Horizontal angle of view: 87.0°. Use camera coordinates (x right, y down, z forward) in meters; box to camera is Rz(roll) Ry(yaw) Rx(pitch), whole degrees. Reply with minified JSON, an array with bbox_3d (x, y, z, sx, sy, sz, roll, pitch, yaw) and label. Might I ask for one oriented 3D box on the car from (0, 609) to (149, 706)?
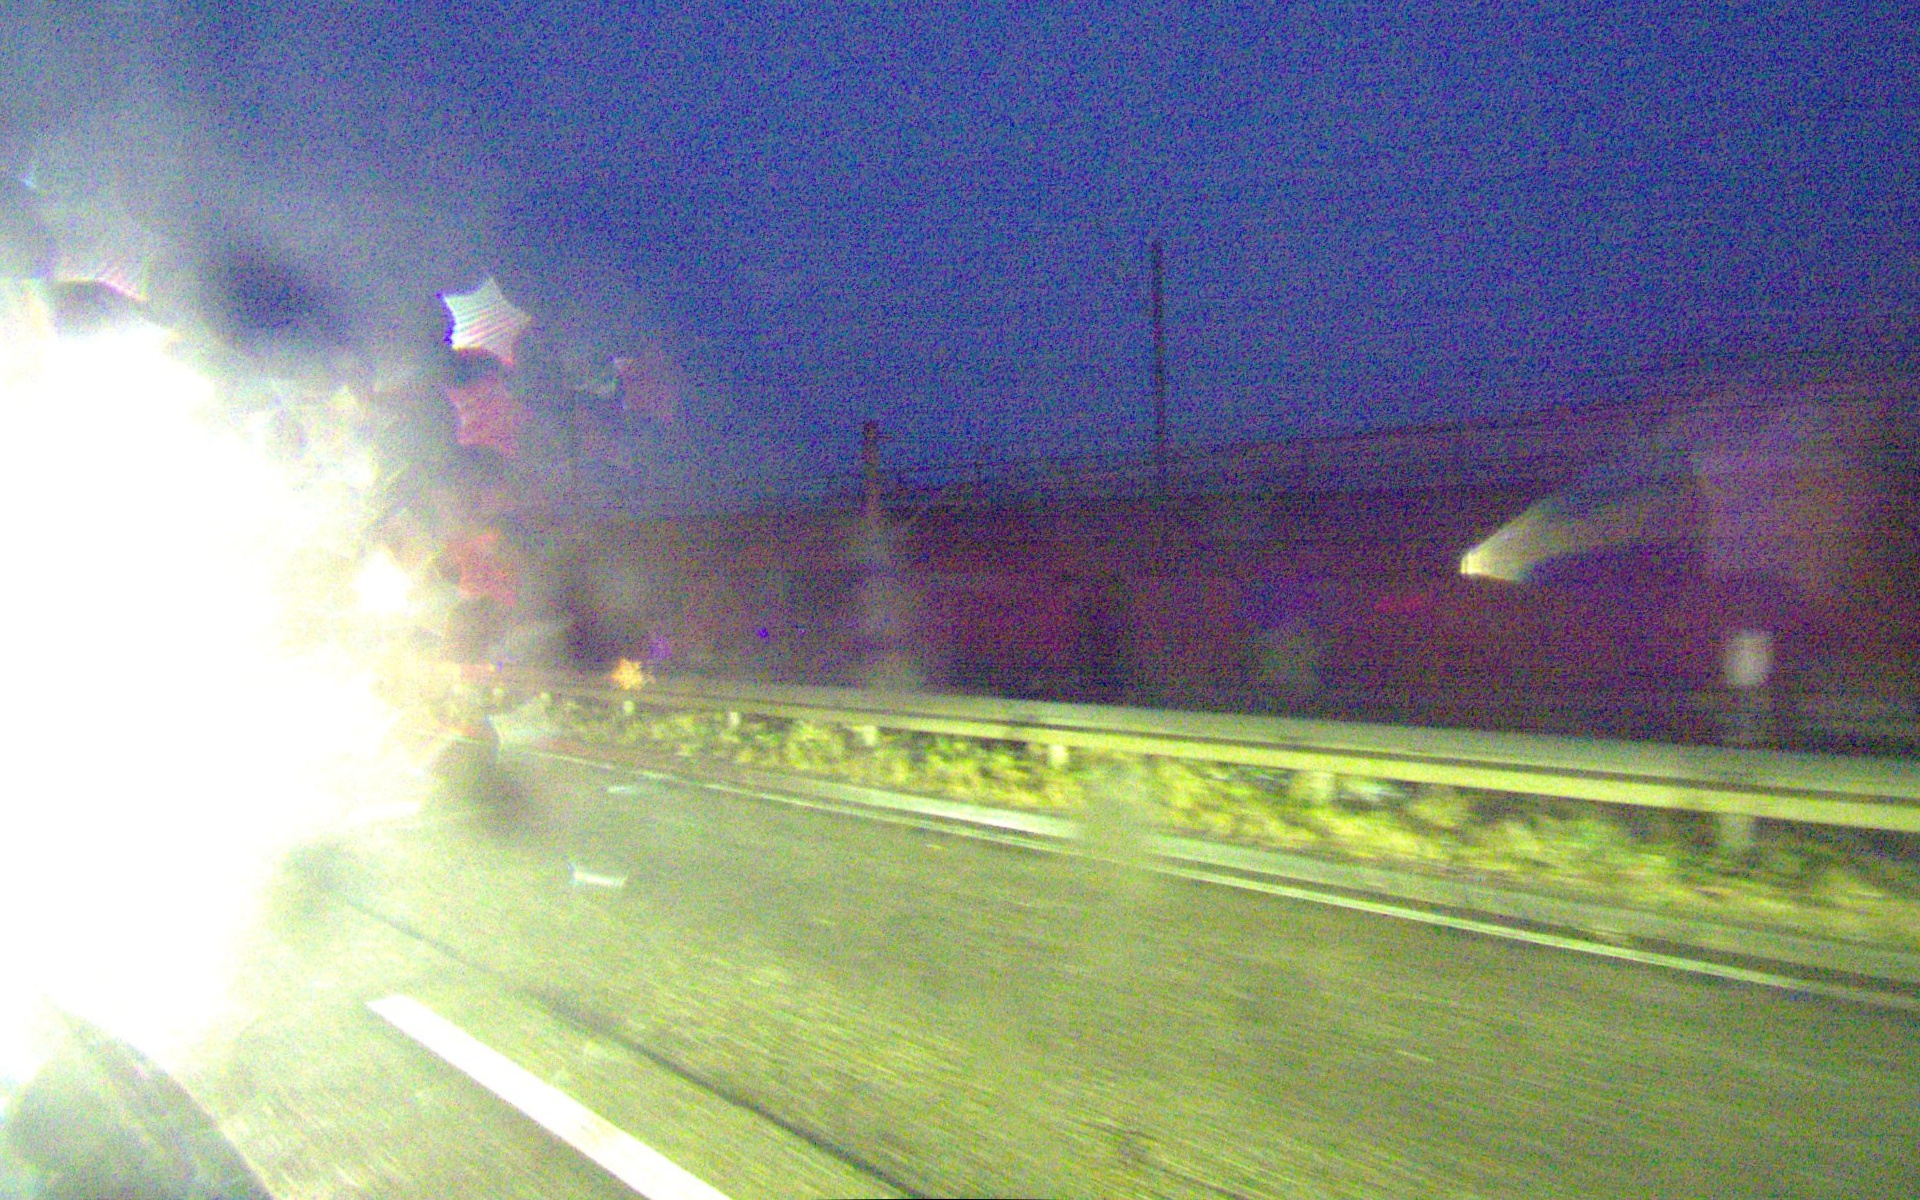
[{"bbox_3d":[-16.588,0.995,18.638,4.254,1.557,1.819,-2,0,41],"label":"car"}]
